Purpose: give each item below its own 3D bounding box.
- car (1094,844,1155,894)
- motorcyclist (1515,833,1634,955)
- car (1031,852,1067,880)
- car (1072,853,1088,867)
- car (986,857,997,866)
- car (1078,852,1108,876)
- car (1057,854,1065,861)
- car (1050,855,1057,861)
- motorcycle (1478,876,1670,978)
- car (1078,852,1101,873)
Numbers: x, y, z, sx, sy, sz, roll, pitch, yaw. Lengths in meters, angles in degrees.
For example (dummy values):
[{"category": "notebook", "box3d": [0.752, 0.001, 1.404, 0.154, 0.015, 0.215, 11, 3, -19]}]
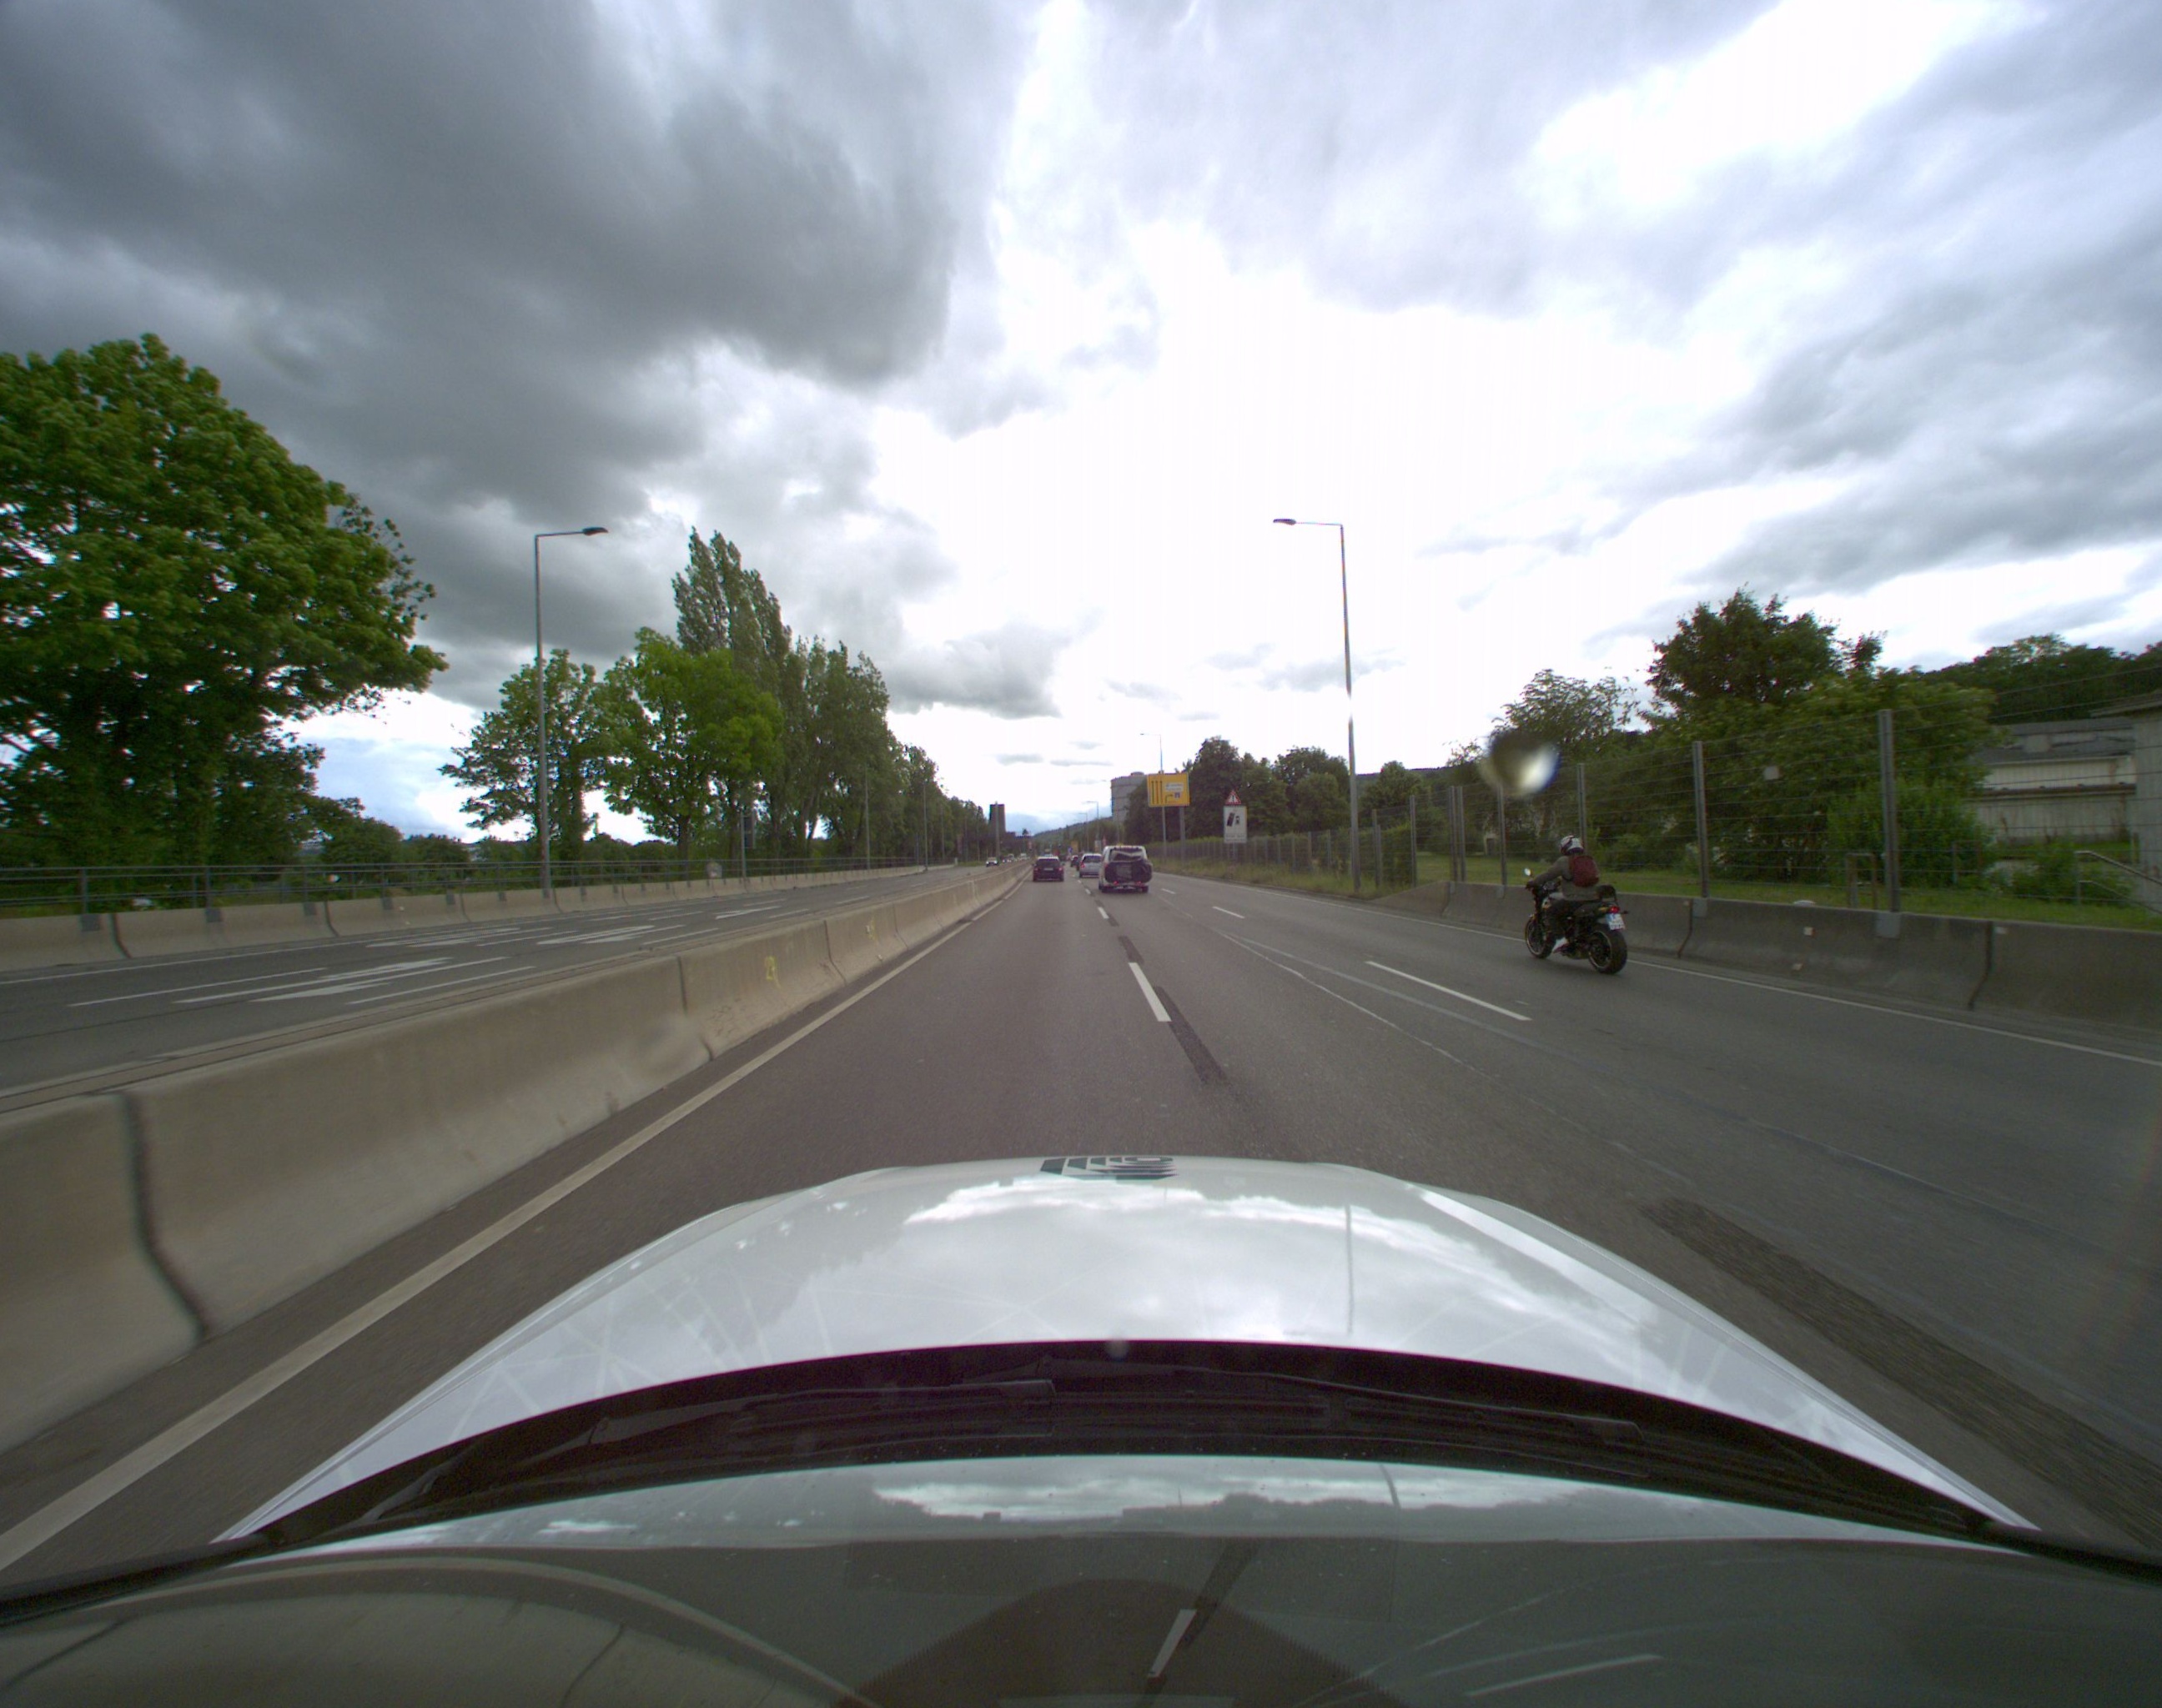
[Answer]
[{"category": "car", "box3d": [1.695, 0.550, 33.580, 1.988, 1.859, 5.636, 1, 0, -2]}, {"category": "motorcyclist", "box3d": [6.355, 0.490, 10.543, 0.911, 1.477, 0.965, -1, 0, -5]}, {"category": "car", "box3d": [-1.811, 0.674, 46.630, 1.809, 1.434, 4.065, -3, 0, 0]}, {"category": "car", "box3d": [-0.165, 0.752, 101.503, 1.987, 1.669, 3.999, 0, 0, -1]}, {"category": "car", "box3d": [-14.167, 1.173, 128.722, 1.731, 1.374, 3.609, -1, 0, -6]}, {"category": "car", "box3d": [0.764, 0.618, 54.079, 1.915, 1.489, 4.064, -1, 0, 0]}, {"category": "car", "box3d": [-4.887, 0.829, 200.392, 1.989, 1.654, 3.996, -1, 0, -3]}, {"category": "car", "box3d": [-8.050, 1.152, 240.153, 1.990, 1.654, 3.993, -1, 0, -5]}, {"category": "motorcycle", "box3d": [6.352, 0.879, 10.745, 0.742, 1.083, 2.661, -2, 0, -4]}, {"category": "car", "box3d": [0.760, 0.731, 76.265, 1.988, 1.860, 3.998, -1, 0, -2]}]
